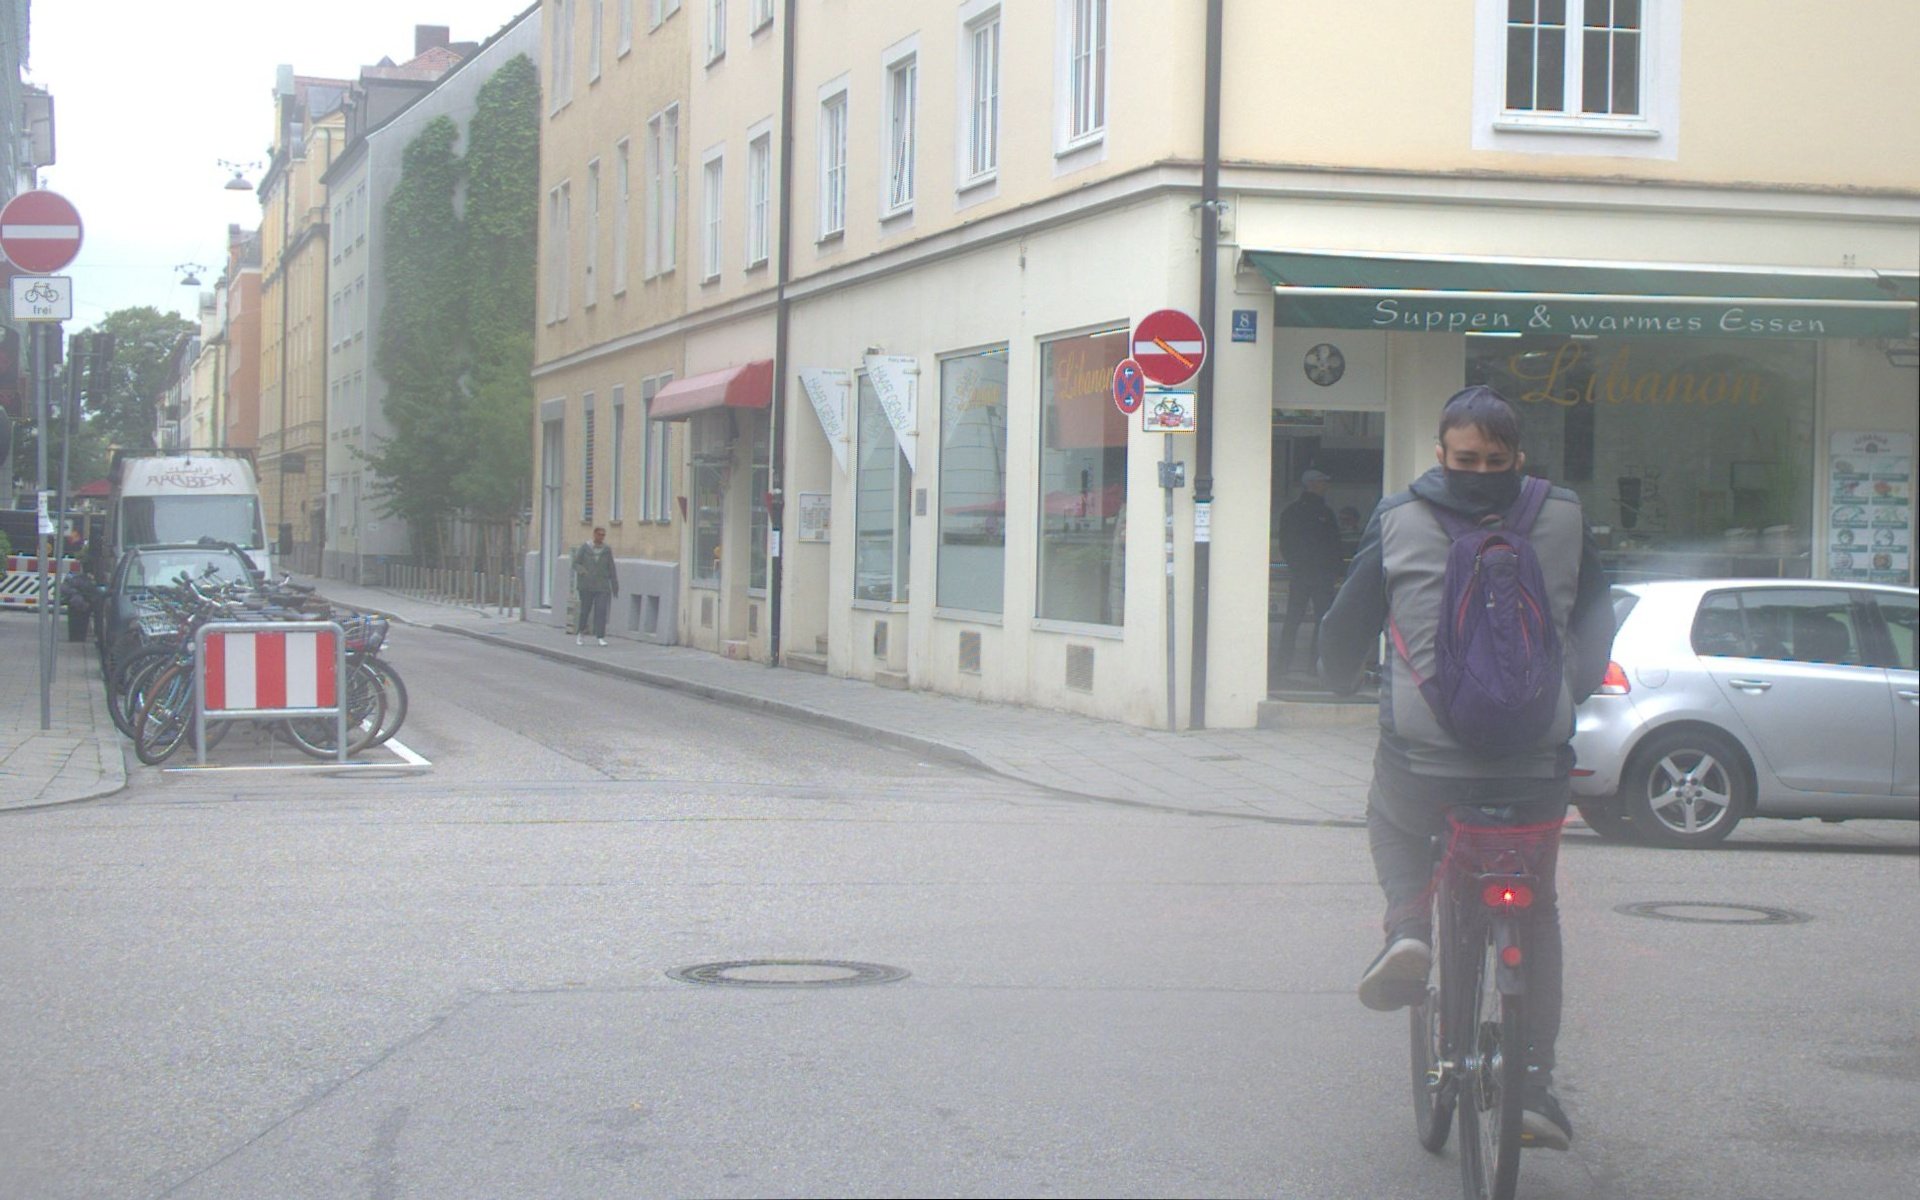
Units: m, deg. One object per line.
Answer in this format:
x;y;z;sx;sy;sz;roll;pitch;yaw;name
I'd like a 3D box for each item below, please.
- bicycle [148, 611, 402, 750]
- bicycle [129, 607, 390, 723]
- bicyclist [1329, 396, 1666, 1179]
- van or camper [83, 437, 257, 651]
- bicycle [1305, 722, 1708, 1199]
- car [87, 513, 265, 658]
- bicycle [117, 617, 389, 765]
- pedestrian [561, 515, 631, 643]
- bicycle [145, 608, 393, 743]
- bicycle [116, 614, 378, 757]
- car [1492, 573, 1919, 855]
-4.929;0.578;24.739;1.735;0.965;0.543;1;1;-17;bicycle
-5.405;0.501;26.525;1.910;0.860;0.619;1;1;-17;bicycle
1.144;0.375;7.446;0.606;1.601;0.757;1;2;2;bicyclist
-9.927;-0.721;43.414;1.993;2.531;4.762;1;1;-12;van or camper
1.146;0.822;7.500;0.639;1.001;1.574;2;1;2;bicycle
-8.832;-0.195;38.710;1.832;1.530;4.001;1;1;-13;car
-4.807;0.617;23.358;1.754;0.965;0.595;1;1;-17;bicycle
-5.133;-0.304;48.485;0.877;1.772;0.774;1;1;-13;pedestrian
-5.096;0.555;25.344;1.735;0.965;0.543;1;1;-17;bicycle
-4.984;0.596;24.024;1.735;0.965;0.543;1;1;-17;bicycle
5.047;0.656;18.727;3.987;1.411;1.820;1;-2;0;car
